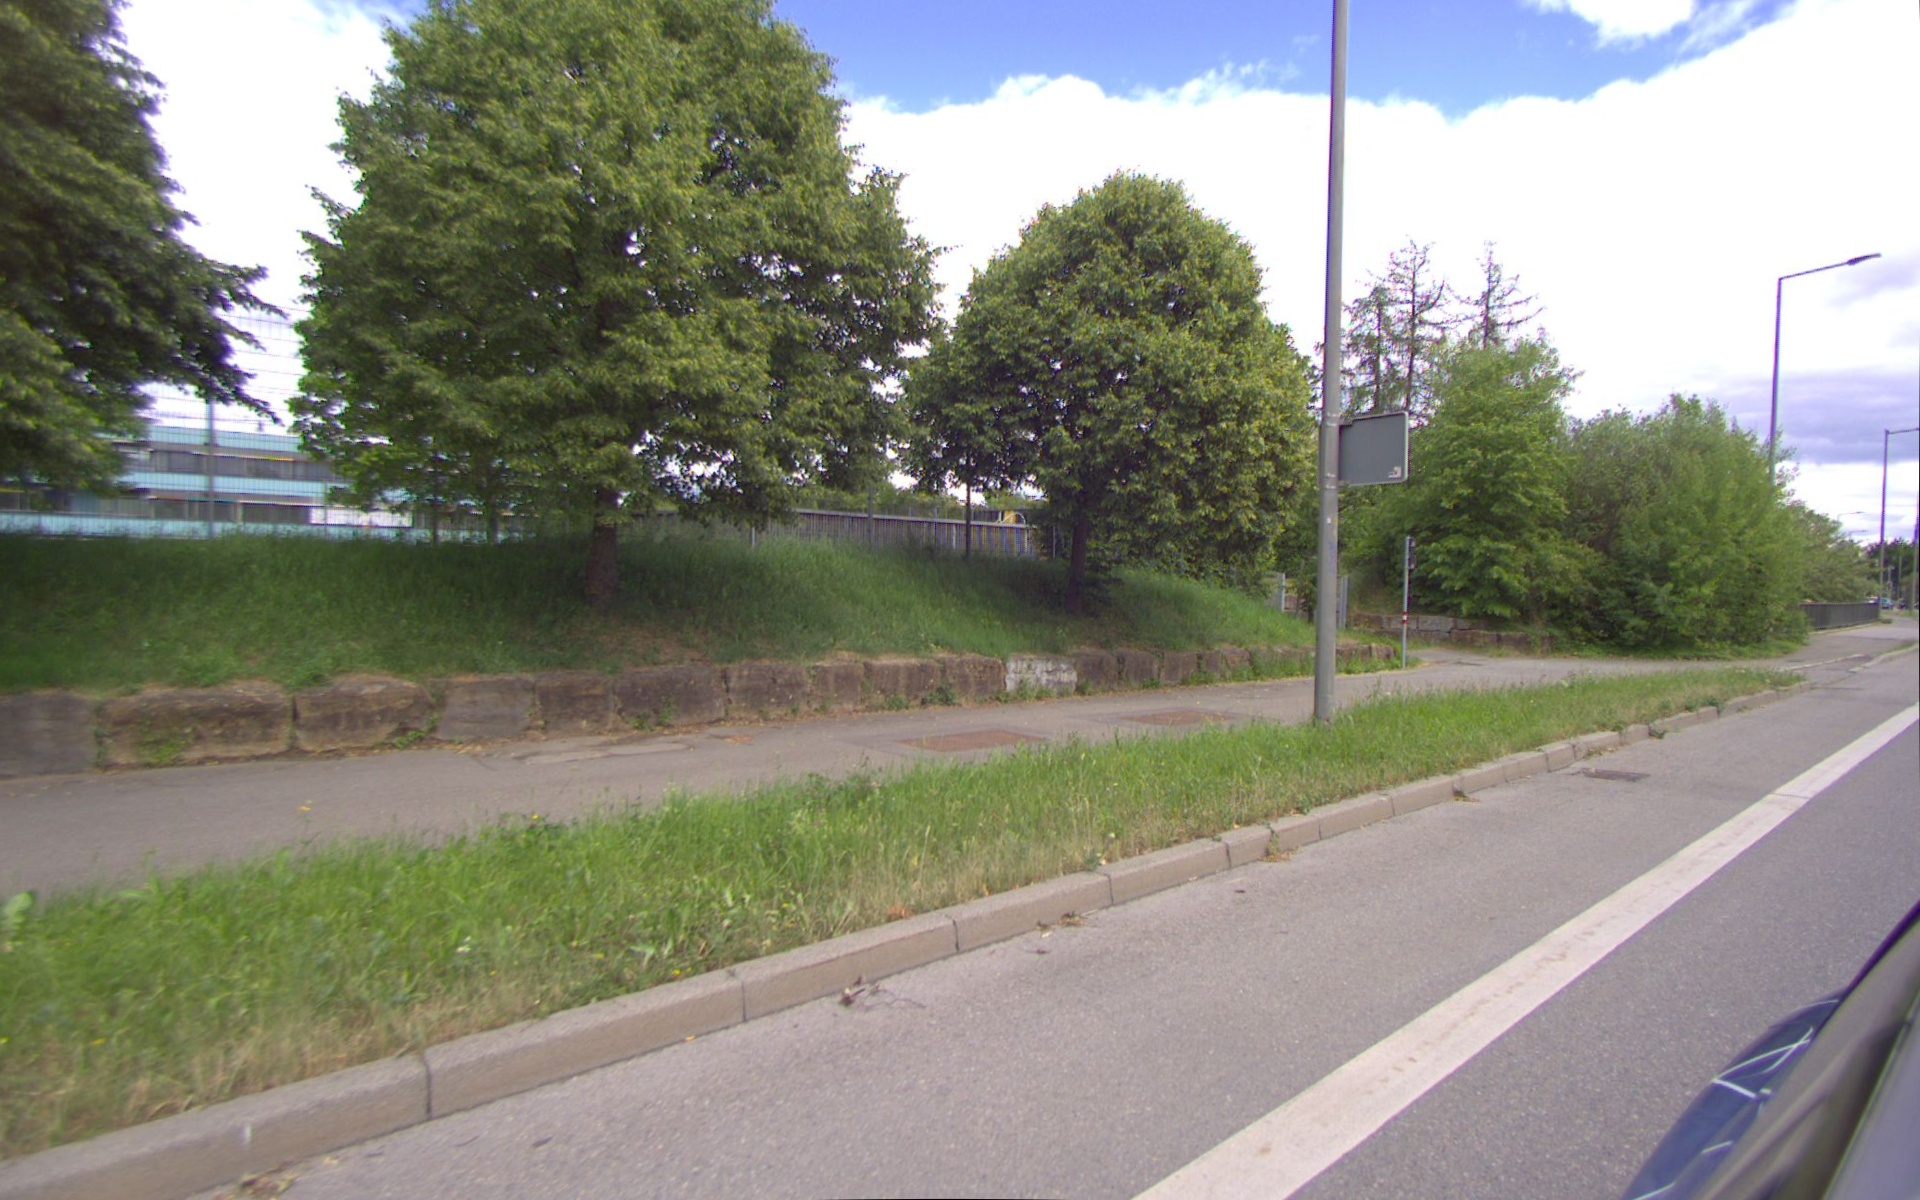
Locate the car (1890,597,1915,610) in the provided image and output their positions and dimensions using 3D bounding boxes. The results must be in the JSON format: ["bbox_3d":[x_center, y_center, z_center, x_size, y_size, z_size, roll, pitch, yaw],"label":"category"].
[{"bbox_3d":[117.265,0.420,125.932,1.726,1.459,4.312,1,1,36],"label":"car"}]
